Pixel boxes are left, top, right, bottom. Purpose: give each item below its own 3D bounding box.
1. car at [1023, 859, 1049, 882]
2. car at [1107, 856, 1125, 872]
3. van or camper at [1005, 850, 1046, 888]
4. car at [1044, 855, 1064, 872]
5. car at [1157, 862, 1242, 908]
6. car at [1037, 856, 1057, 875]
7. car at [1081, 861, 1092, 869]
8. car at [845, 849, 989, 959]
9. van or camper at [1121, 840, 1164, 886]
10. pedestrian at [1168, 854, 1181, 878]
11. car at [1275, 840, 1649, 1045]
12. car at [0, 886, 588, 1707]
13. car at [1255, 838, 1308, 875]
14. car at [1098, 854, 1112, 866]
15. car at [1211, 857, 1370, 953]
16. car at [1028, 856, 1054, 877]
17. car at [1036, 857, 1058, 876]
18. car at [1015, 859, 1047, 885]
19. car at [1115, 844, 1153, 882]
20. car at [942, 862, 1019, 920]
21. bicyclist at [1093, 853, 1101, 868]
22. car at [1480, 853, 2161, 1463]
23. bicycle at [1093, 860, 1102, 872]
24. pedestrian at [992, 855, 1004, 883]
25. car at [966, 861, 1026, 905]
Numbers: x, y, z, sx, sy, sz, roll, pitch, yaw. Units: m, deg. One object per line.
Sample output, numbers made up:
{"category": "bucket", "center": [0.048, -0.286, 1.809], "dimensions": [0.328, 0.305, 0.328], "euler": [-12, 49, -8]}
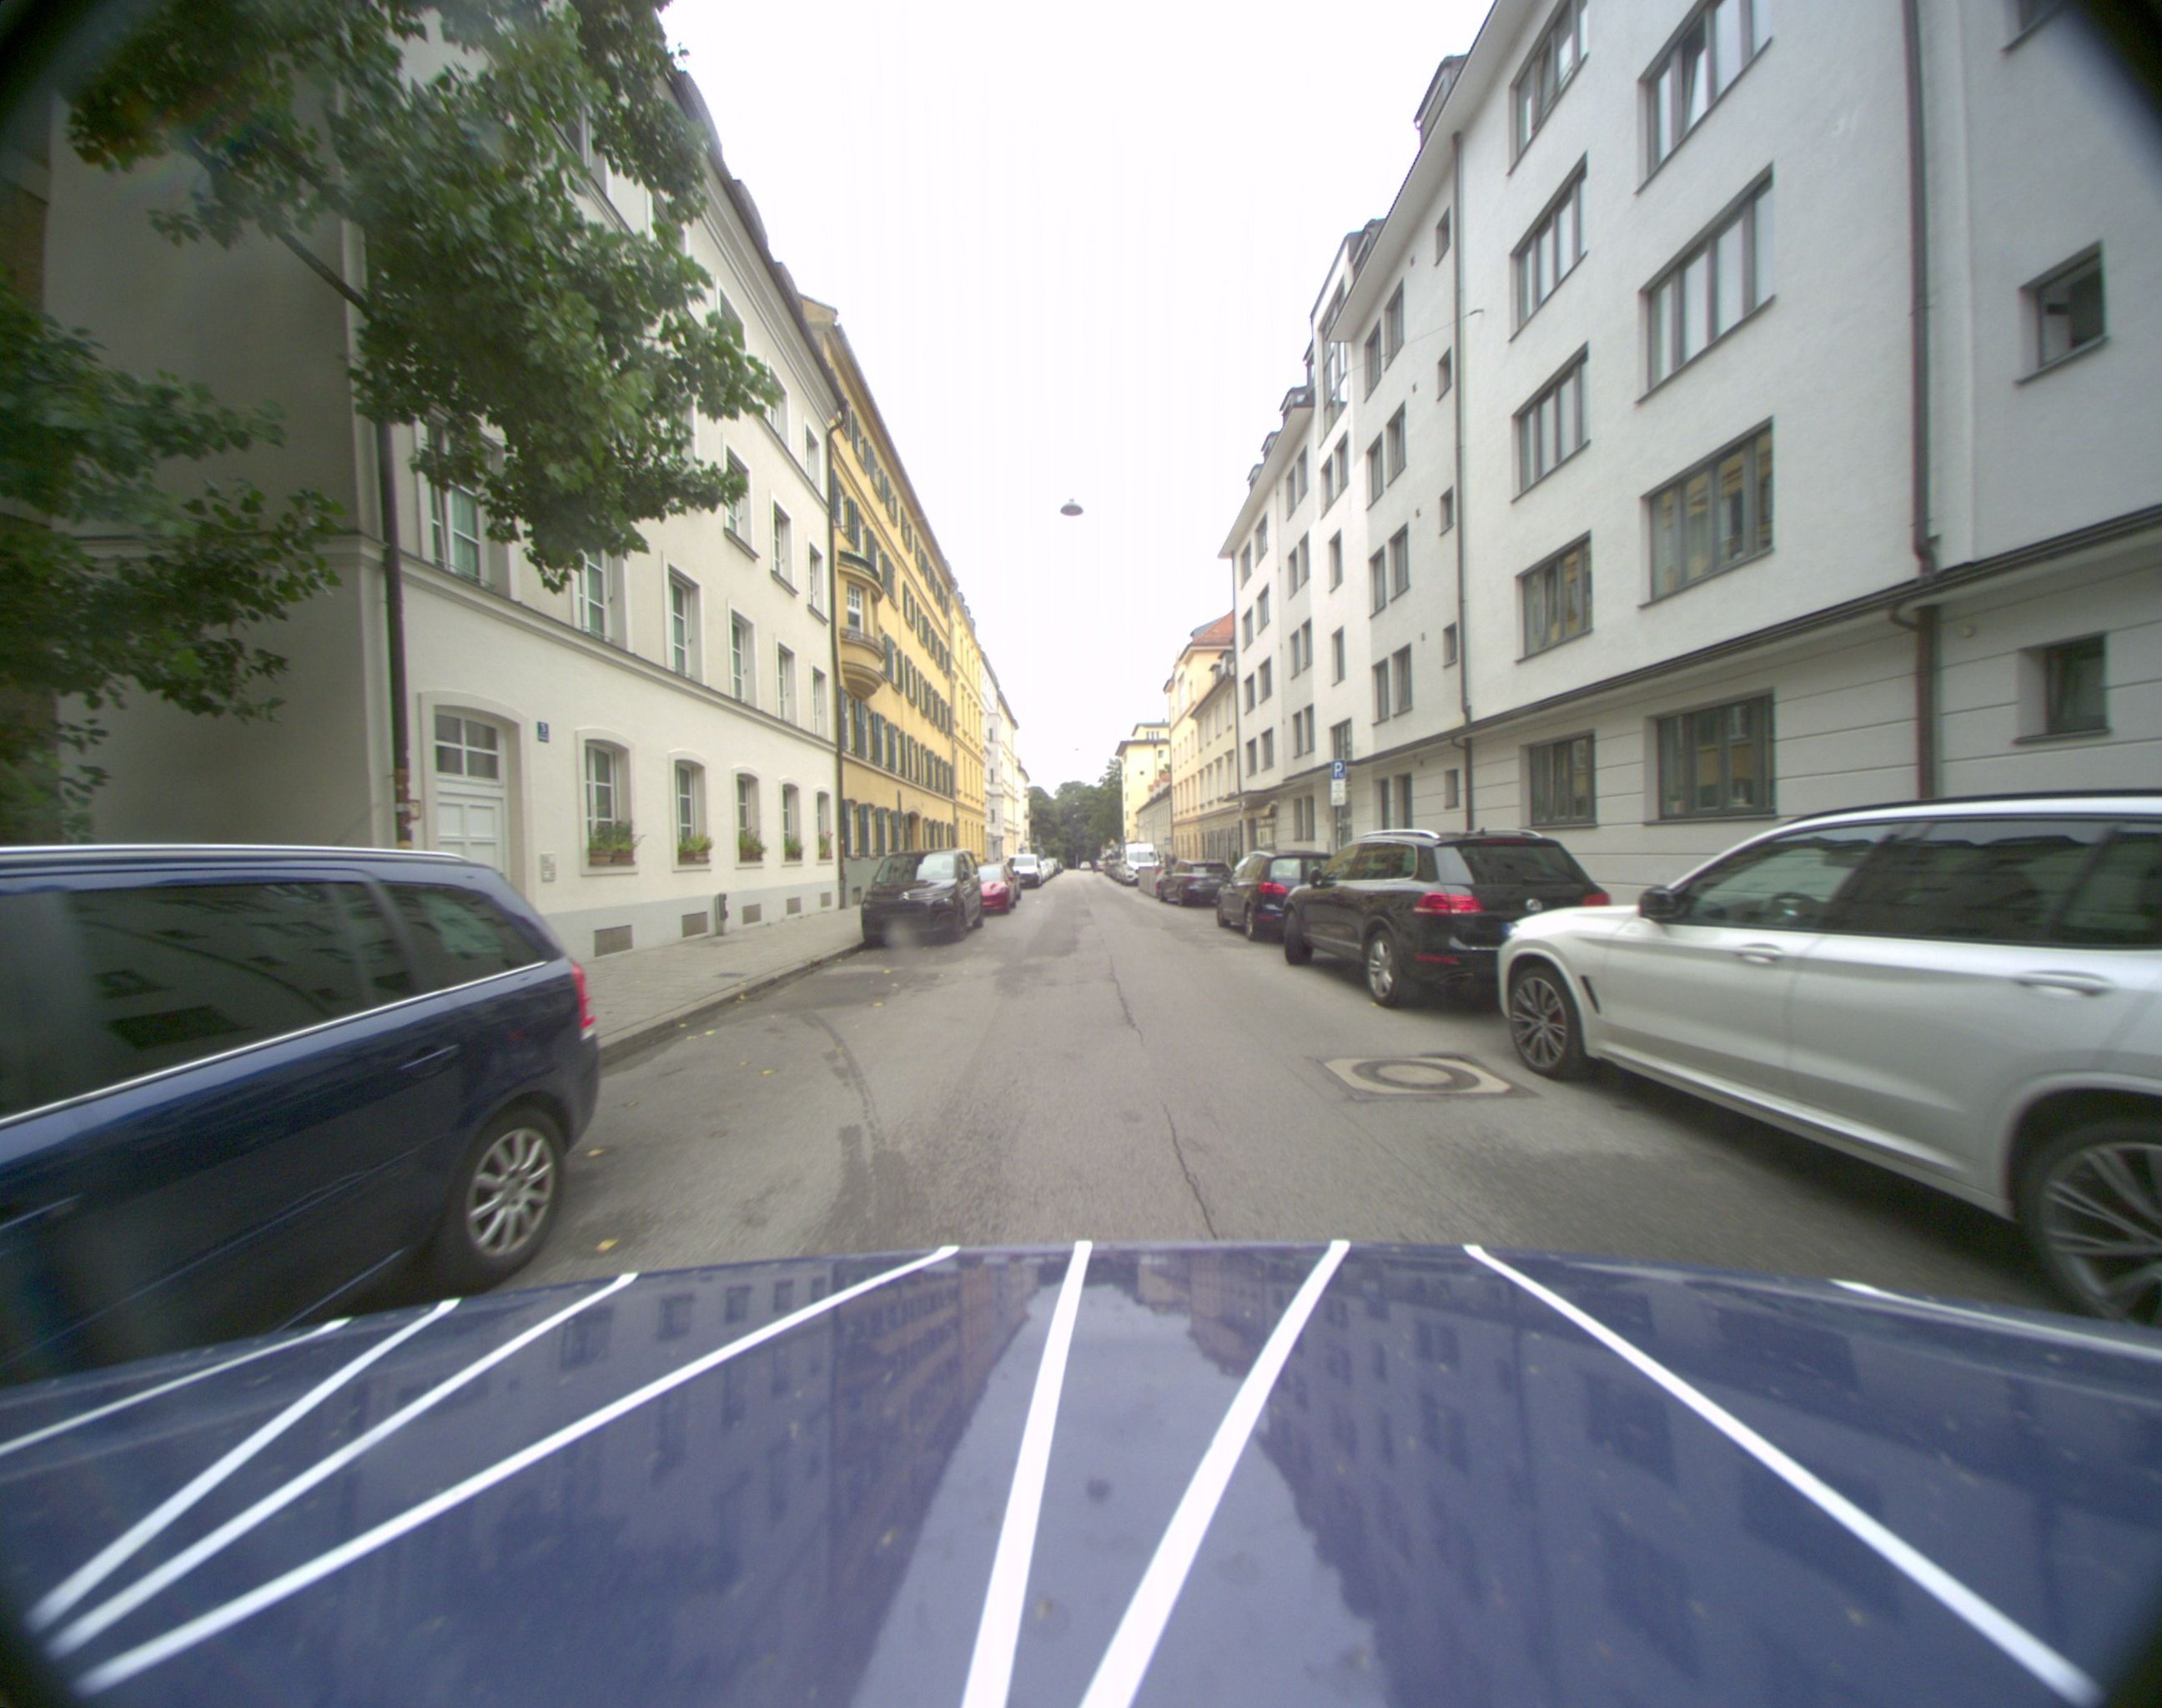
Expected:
{"category": "car", "center": [-3.061, 1.136, 52.514], "dimensions": [1.627, 1.501, 3.761], "euler": [-1, 0, -1]}
{"category": "car", "center": [3.432, 0.966, 74.790], "dimensions": [1.573, 1.505, 3.423], "euler": [-2, 0, 0]}
{"category": "van or camper", "center": [-3.053, 0.805, 42.848], "dimensions": [1.999, 2.002, 5.232], "euler": [-1, 0, -1]}
{"category": "car", "center": [-3.054, 1.028, 87.375], "dimensions": [1.998, 1.850, 5.114], "euler": [-1, 0, 1]}
{"category": "car", "center": [3.654, 0.920, 24.151], "dimensions": [1.644, 1.346, 4.056], "euler": [0, 0, -7]}
{"category": "car", "center": [-3.120, 1.070, 71.121], "dimensions": [1.721, 1.592, 4.322], "euler": [-2, 0, -2]}
{"category": "car", "center": [0.961, 1.849, 130.695], "dimensions": [1.793, 1.409, 3.905], "euler": [0, 0, -1]}
{"category": "car", "center": [-3.064, 0.840, 15.131], "dimensions": [1.851, 1.766, 4.200], "euler": [-3, 1, 0]}
{"category": "van or camper", "center": [3.377, 0.465, 42.752], "dimensions": [1.998, 2.298, 5.478], "euler": [-2, 0, 1]}
{"category": "pedestrian", "center": [6.733, 0.884, 54.978], "dimensions": [0.807, 1.701, 1.021], "euler": [-1, 0, 1]}
{"category": "car", "center": [3.712, 0.746, 8.504], "dimensions": [1.877, 1.678, 4.520], "euler": [0, 0, -1]}
{"category": "car", "center": [-2.967, 0.958, 1.143], "dimensions": [1.813, 1.591, 4.214], "euler": [-1, 0, -3]}
{"category": "car", "center": [11.861, 0.121, 45.206], "dimensions": [1.998, 2.002, 4.400], "euler": [-2, 0, 1]}
{"category": "car", "center": [3.118, 0.787, 99.486], "dimensions": [1.711, 1.490, 4.000], "euler": [-1, 0, -1]}
{"category": "car", "center": [3.688, 0.832, 14.172], "dimensions": [1.778, 1.530, 4.159], "euler": [0, 0, -1]}
{"category": "car", "center": [-3.067, 0.923, 59.048], "dimensions": [1.721, 1.501, 4.468], "euler": [-1, 0, 0]}
{"category": "car", "center": [-2.896, 1.069, 64.834], "dimensions": [1.721, 1.501, 3.936], "euler": [-1, 0, -1]}
{"category": "car", "center": [-3.095, 1.074, 47.835], "dimensions": [1.821, 1.501, 4.586], "euler": [-1, 0, -2]}
{"category": "car", "center": [3.301, 0.537, 48.223], "dimensions": [1.862, 2.188, 4.560], "euler": [-2, 0, -2]}
{"category": "car", "center": [-2.815, 0.996, 22.071], "dimensions": [1.718, 1.415, 4.457], "euler": [-1, 0, -1]}
{"category": "bicyclist", "center": [1.673, 0.678, 79.479], "dimensions": [0.688, 1.618, 0.853], "euler": [-2, 0, -1]}
{"category": "car", "center": [3.847, 0.831, 3.196], "dimensions": [1.877, 1.648, 4.590], "euler": [0, 0, -1]}
{"category": "bicycle", "center": [1.725, 1.240, 79.548], "dimensions": [0.734, 1.144, 1.999], "euler": [-2, 0, -1]}
{"category": "pedestrian", "center": [-4.881, 0.909, 44.967], "dimensions": [0.598, 1.629, 0.896], "euler": [2, 0, -2]}
{"category": "car", "center": [-3.071, 1.022, 28.272], "dimensions": [1.750, 1.455, 4.000], "euler": [-1, 0, 0]}
